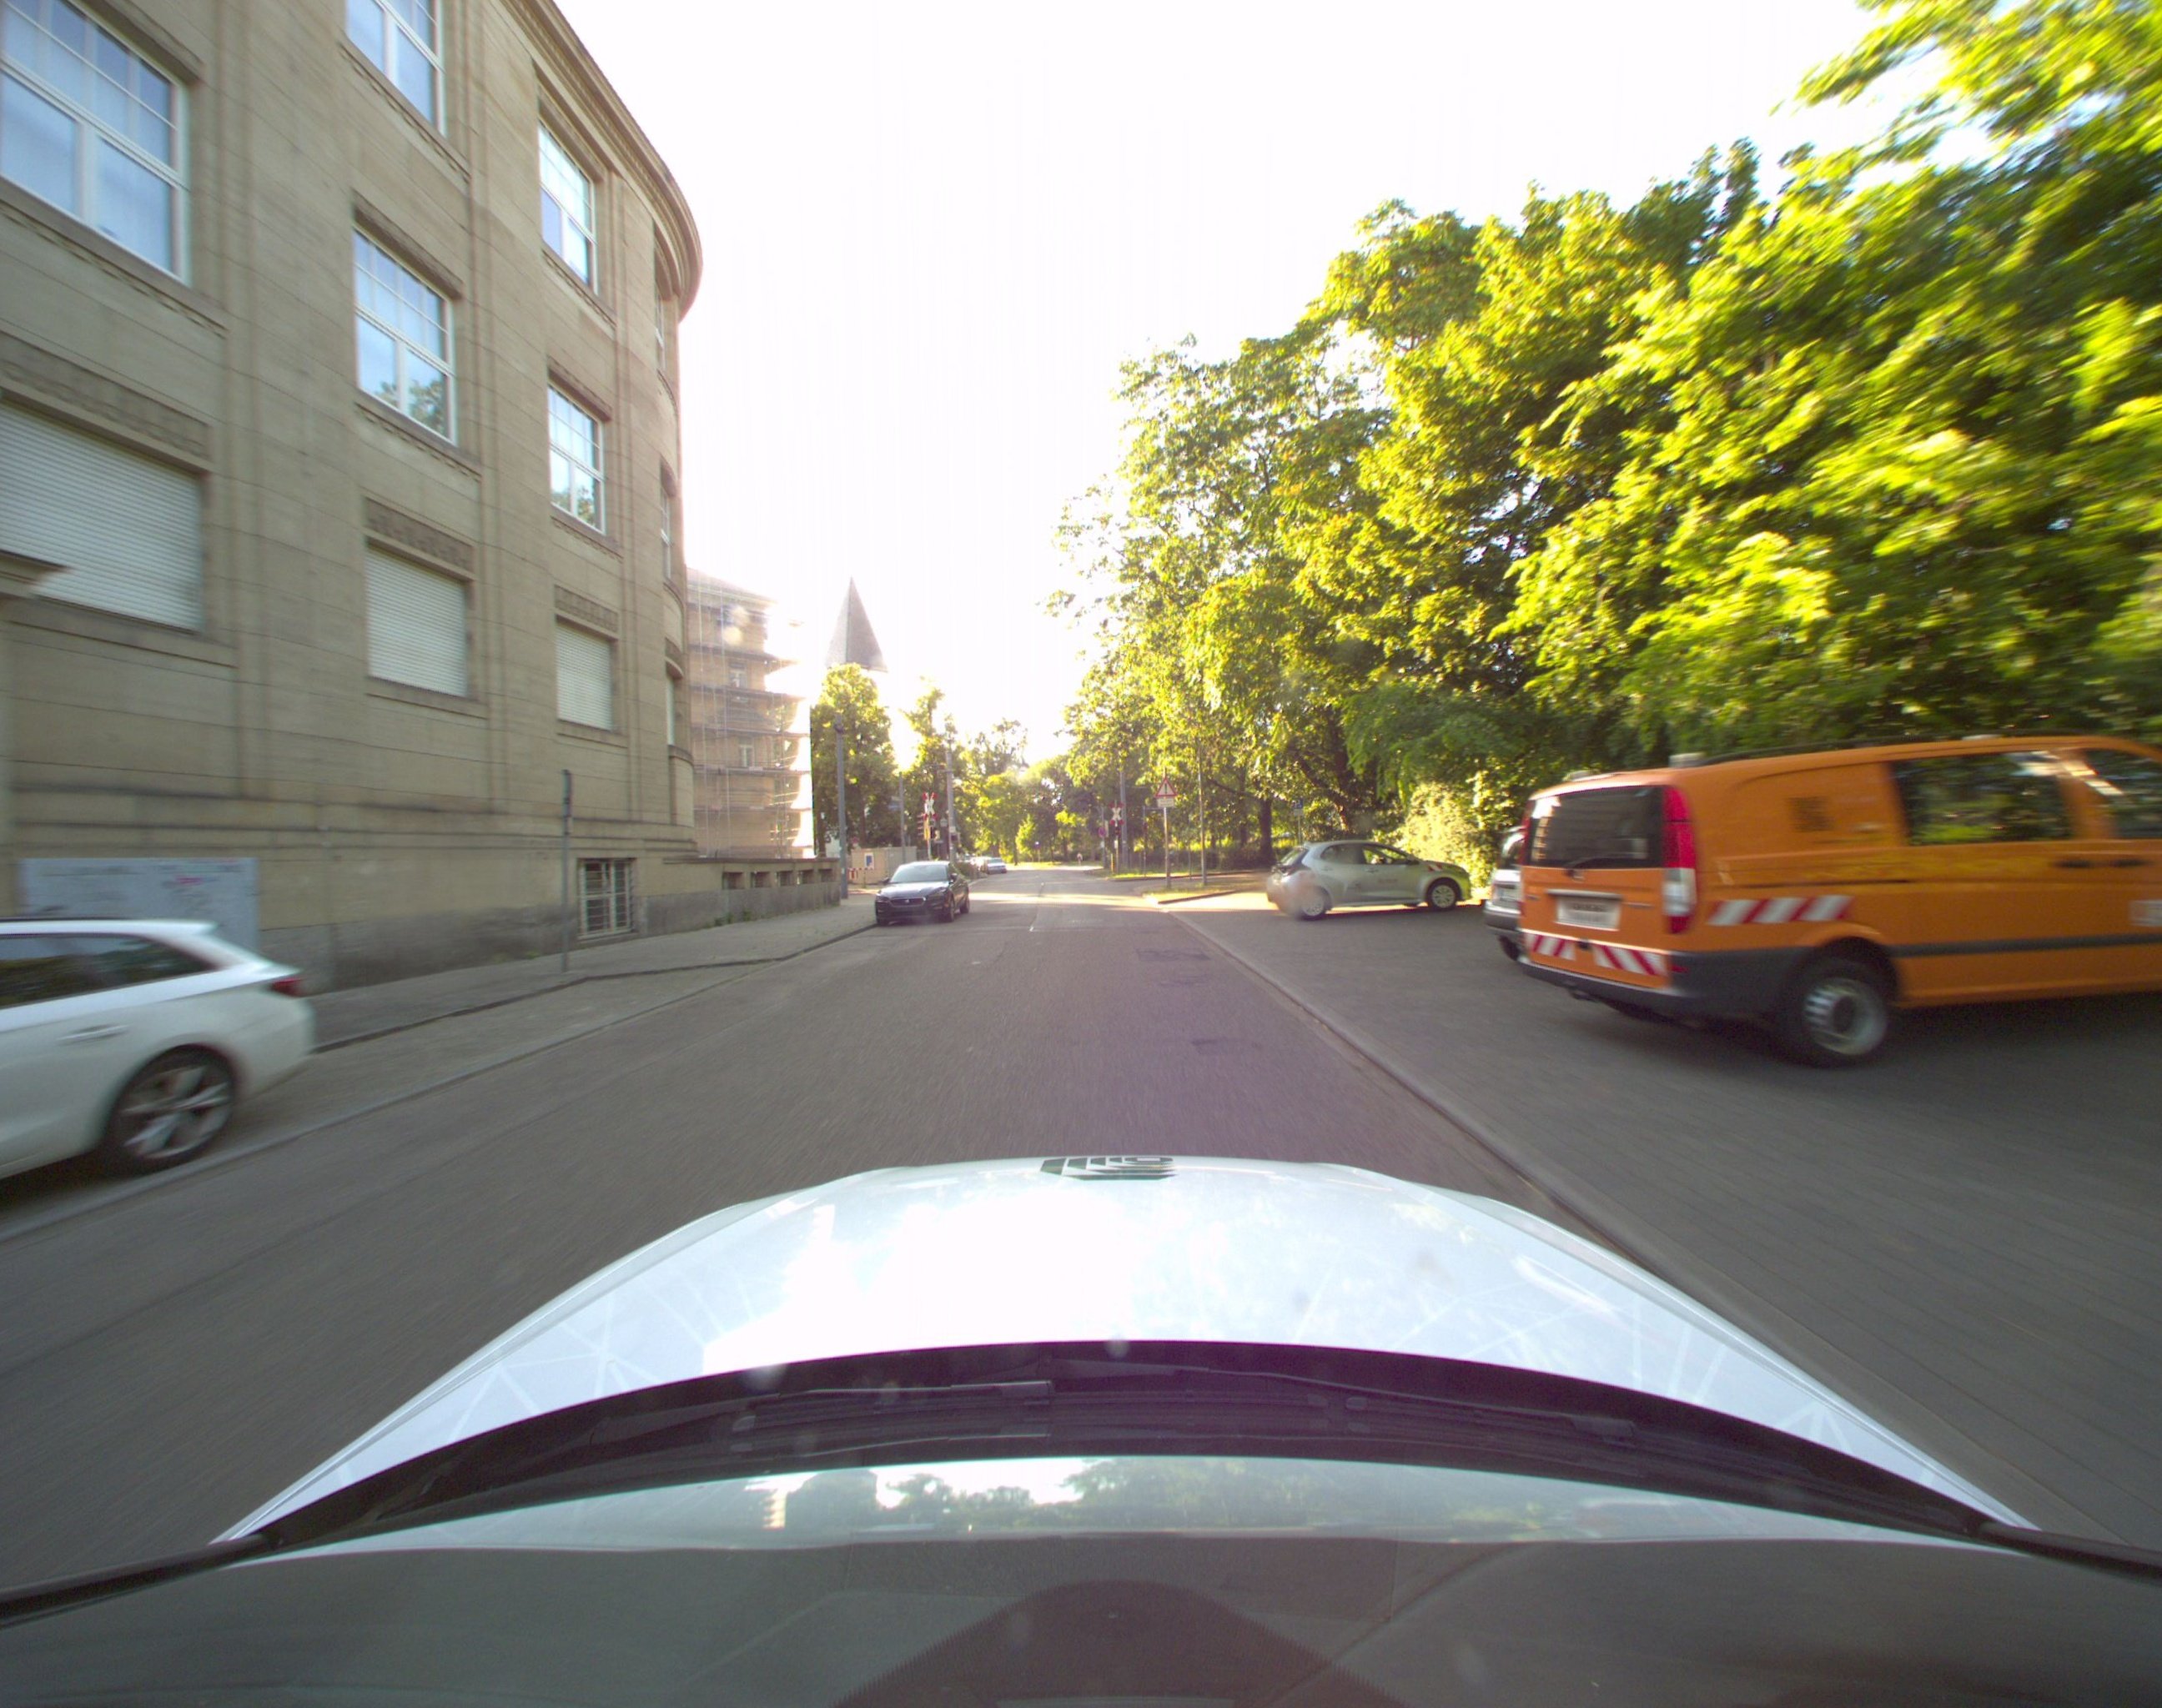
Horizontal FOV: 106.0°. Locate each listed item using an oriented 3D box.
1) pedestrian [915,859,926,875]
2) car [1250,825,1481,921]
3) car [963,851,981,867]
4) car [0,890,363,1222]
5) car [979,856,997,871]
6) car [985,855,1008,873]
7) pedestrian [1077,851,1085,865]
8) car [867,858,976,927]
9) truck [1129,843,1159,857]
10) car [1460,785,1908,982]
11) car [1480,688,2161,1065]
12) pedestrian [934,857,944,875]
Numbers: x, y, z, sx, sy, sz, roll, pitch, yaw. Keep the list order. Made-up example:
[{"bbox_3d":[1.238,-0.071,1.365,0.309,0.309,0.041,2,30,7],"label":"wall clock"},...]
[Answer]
[{"bbox_3d":[-12.535,1.019,63.594,0.548,1.233,0.725,-2,0,4],"label":"pedestrian"},{"bbox_3d":[5.610,0.362,16.384,3.975,1.546,1.734,-4,0,-1],"label":"car"},{"bbox_3d":[-14.365,0.694,106.837,1.853,1.946,4.818,-2,0,-13],"label":"car"},{"bbox_3d":[-5.820,0.983,3.300,1.738,1.435,4.560,-1,0,0],"label":"car"},{"bbox_3d":[-9.974,0.992,87.174,1.614,1.440,3.591,-4,0,-12],"label":"car"},{"bbox_3d":[-7.684,0.903,73.736,1.779,1.415,4.484,-4,1,-9],"label":"car"},{"bbox_3d":[0.008,0.464,95.061,0.771,1.574,0.767,-2,0,-4],"label":"pedestrian"},{"bbox_3d":[-3.831,0.867,20.307,1.737,1.448,4.209,-3,0,1],"label":"car"},{"bbox_3d":[14.511,-0.857,188.697,2.623,3.029,7.925,-2,0,-33],"label":"truck"},{"bbox_3d":[6.127,0.283,8.598,3.384,1.631,1.680,-4,0,1],"label":"car"},{"bbox_3d":[5.827,0.052,5.901,4.784,1.997,2.079,-4,0,-3],"label":"car"},{"bbox_3d":[-11.085,0.937,63.787,0.548,1.298,0.767,-2,0,4],"label":"pedestrian"}]
